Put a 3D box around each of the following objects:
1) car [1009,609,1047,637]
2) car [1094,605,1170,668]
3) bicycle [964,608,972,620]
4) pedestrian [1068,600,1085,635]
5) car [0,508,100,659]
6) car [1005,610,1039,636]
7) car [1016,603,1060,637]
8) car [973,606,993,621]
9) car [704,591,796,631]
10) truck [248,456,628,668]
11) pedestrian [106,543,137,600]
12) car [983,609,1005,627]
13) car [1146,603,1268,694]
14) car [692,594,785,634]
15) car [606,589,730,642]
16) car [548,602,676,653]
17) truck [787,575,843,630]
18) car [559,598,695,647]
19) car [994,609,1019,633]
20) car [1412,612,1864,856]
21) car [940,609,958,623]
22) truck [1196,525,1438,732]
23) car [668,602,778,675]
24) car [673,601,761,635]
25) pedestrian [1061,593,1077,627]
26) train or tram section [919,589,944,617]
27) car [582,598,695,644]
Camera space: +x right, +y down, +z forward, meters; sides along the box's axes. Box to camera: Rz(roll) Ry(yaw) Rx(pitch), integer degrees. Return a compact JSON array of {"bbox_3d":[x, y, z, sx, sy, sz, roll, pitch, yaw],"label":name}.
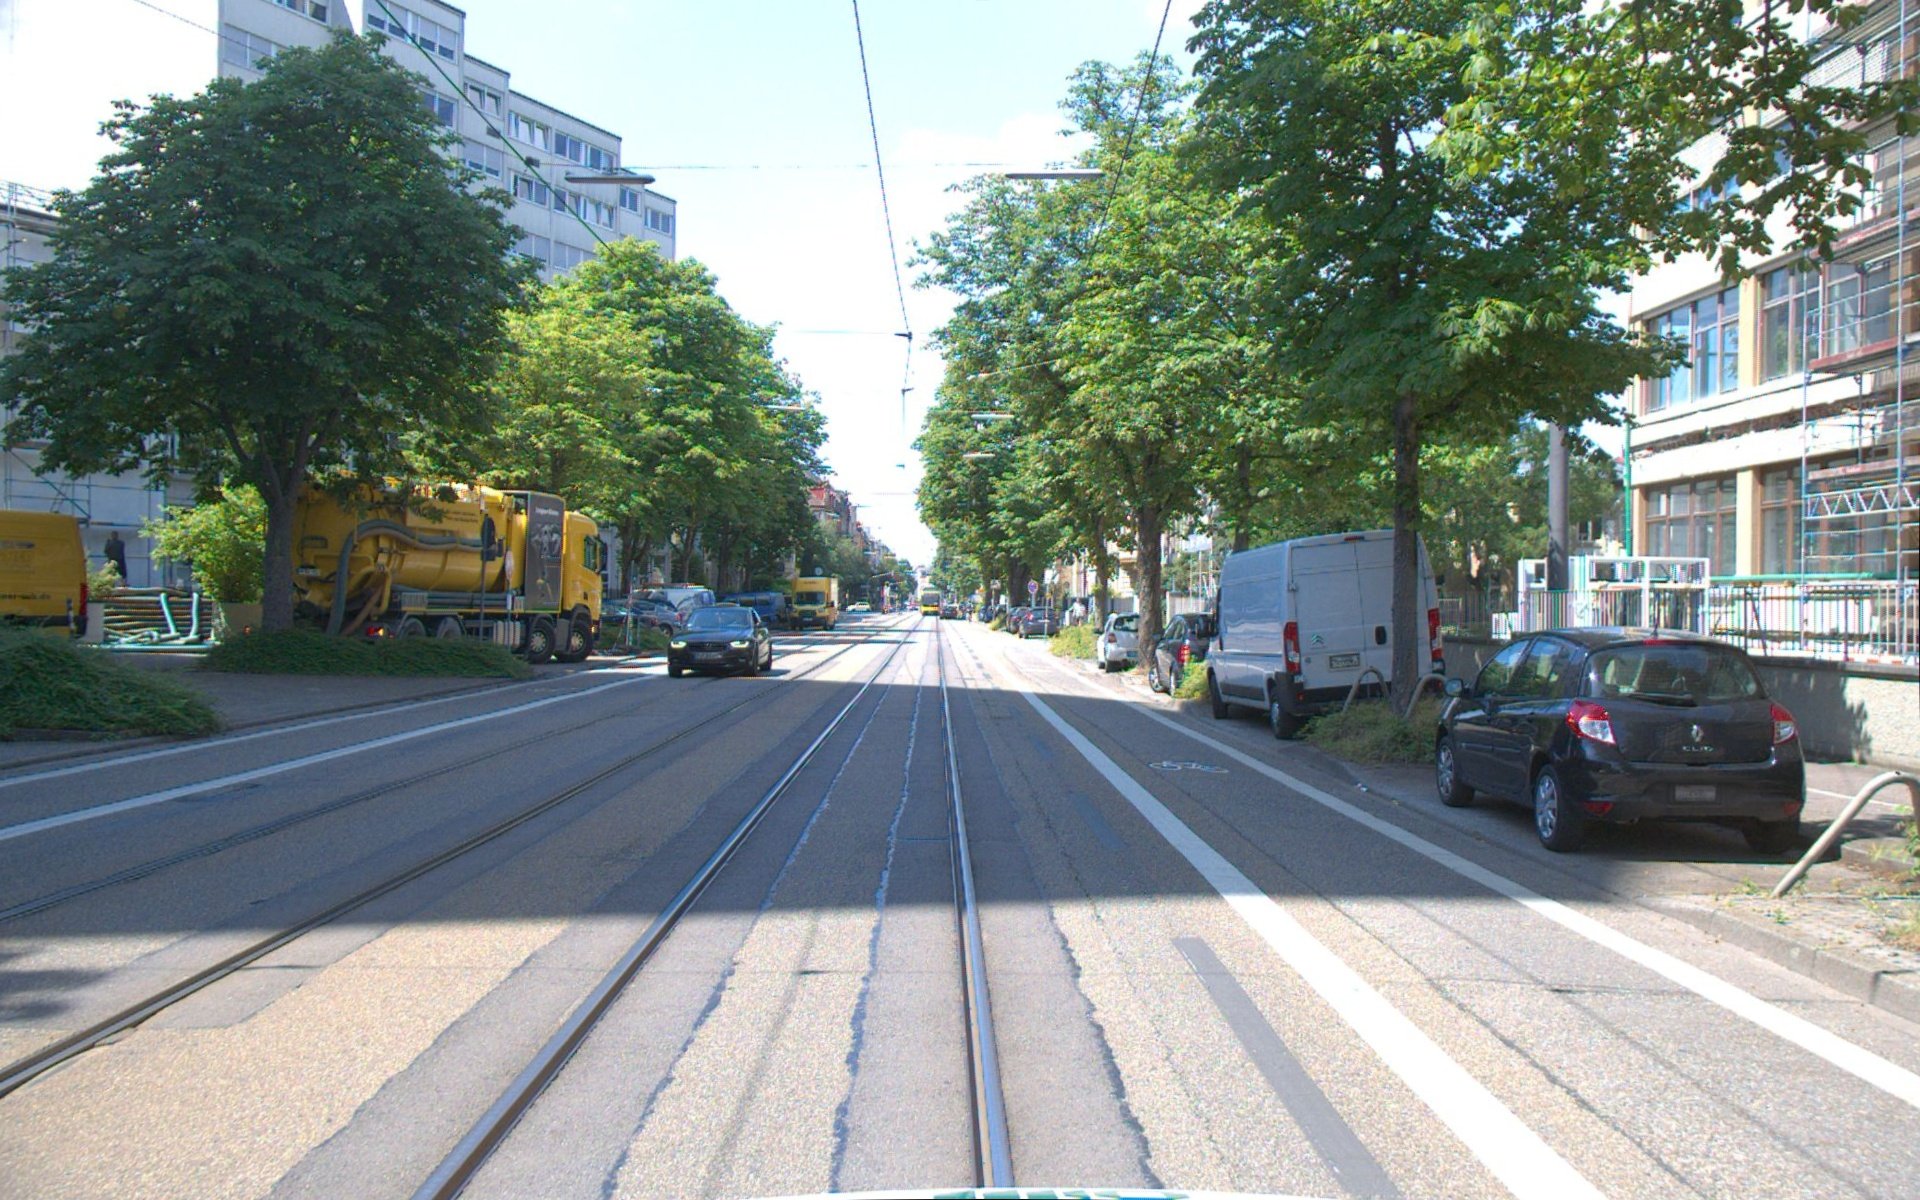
[{"bbox_3d":[3.654,1.238,89.112,1.838,1.480,4.527,0,-1,-1],"label":"car"},{"bbox_3d":[4.435,0.915,43.149,1.610,1.561,3.785,0,0,0],"label":"car"},{"bbox_3d":[0.697,1.215,140.501,0.626,0.986,1.780,2,-2,-2],"label":"bicycle"},{"bbox_3d":[6.402,0.952,90.967,0.570,1.892,0.717,0,-1,-36],"label":"pedestrian"},{"bbox_3d":[-18.248,-0.350,27.697,2.137,2.611,6.713,1,-2,29],"label":"car"},{"bbox_3d":[3.553,1.315,95.543,1.676,1.448,4.242,0,-1,-1],"label":"car"},{"bbox_3d":[3.600,0.928,76.610,1.606,1.511,3.869,0,-1,-4],"label":"car"},{"bbox_3d":[2.174,1.267,155.324,1.676,1.448,4.308,0,-1,-1],"label":"car"},{"bbox_3d":[-11.643,0.593,91.794,4.718,2.098,1.997,-1,0,-40],"label":"car"},{"bbox_3d":[-10.941,-0.634,36.491,2.657,3.909,10.972,2,-1,13],"label":"truck"},{"bbox_3d":[-23.407,-0.786,46.175,0.467,1.583,0.620,-1,-1,26],"label":"pedestrian"},{"bbox_3d":[2.796,1.493,136.968,1.676,1.448,4.308,0,-1,-1],"label":"car"},{"bbox_3d":[4.565,0.860,31.019,1.611,1.561,3.946,0,0,-1],"label":"car"},{"bbox_3d":[-11.412,0.716,85.611,1.815,1.990,4.701,-1,0,43],"label":"car"},{"bbox_3d":[-11.560,0.595,65.661,1.887,1.968,4.729,-2,-1,41],"label":"car"},{"bbox_3d":[-11.012,0.848,52.486,1.731,1.533,3.687,-1,0,42],"label":"car"},{"bbox_3d":[-7.881,0.135,90.681,2.312,2.902,7.378,0,0,1],"label":"truck"},{"bbox_3d":[-11.192,0.738,55.796,4.168,1.533,1.845,-1,0,-43],"label":"car"},{"bbox_3d":[3.323,1.480,117.747,1.560,1.645,3.906,0,-1,-1],"label":"car"},{"bbox_3d":[4.930,0.874,12.767,1.786,1.497,4.401,0,0,1],"label":"car"},{"bbox_3d":[-1.074,1.588,162.980,1.745,1.369,3.415,0,0,-1],"label":"car"},{"bbox_3d":[4.822,0.344,23.316,1.974,2.532,5.954,0,0,-2],"label":"truck"},{"bbox_3d":[-4.907,0.765,34.711,1.738,1.422,4.286,0,0,-1],"label":"car"},{"bbox_3d":[-11.575,0.837,79.045,1.730,1.458,3.978,-3,-1,41],"label":"car"},{"bbox_3d":[6.124,0.549,92.608,0.791,1.892,0.577,-1,0,15],"label":"pedestrian"},{"bbox_3d":[-3.595,0.355,211.443,2.973,3.499,11.969,0,0,0],"label":"train or tram section"},{"bbox_3d":[-11.434,0.732,58.930,1.663,1.571,3.685,-1,0,43],"label":"car"}]
